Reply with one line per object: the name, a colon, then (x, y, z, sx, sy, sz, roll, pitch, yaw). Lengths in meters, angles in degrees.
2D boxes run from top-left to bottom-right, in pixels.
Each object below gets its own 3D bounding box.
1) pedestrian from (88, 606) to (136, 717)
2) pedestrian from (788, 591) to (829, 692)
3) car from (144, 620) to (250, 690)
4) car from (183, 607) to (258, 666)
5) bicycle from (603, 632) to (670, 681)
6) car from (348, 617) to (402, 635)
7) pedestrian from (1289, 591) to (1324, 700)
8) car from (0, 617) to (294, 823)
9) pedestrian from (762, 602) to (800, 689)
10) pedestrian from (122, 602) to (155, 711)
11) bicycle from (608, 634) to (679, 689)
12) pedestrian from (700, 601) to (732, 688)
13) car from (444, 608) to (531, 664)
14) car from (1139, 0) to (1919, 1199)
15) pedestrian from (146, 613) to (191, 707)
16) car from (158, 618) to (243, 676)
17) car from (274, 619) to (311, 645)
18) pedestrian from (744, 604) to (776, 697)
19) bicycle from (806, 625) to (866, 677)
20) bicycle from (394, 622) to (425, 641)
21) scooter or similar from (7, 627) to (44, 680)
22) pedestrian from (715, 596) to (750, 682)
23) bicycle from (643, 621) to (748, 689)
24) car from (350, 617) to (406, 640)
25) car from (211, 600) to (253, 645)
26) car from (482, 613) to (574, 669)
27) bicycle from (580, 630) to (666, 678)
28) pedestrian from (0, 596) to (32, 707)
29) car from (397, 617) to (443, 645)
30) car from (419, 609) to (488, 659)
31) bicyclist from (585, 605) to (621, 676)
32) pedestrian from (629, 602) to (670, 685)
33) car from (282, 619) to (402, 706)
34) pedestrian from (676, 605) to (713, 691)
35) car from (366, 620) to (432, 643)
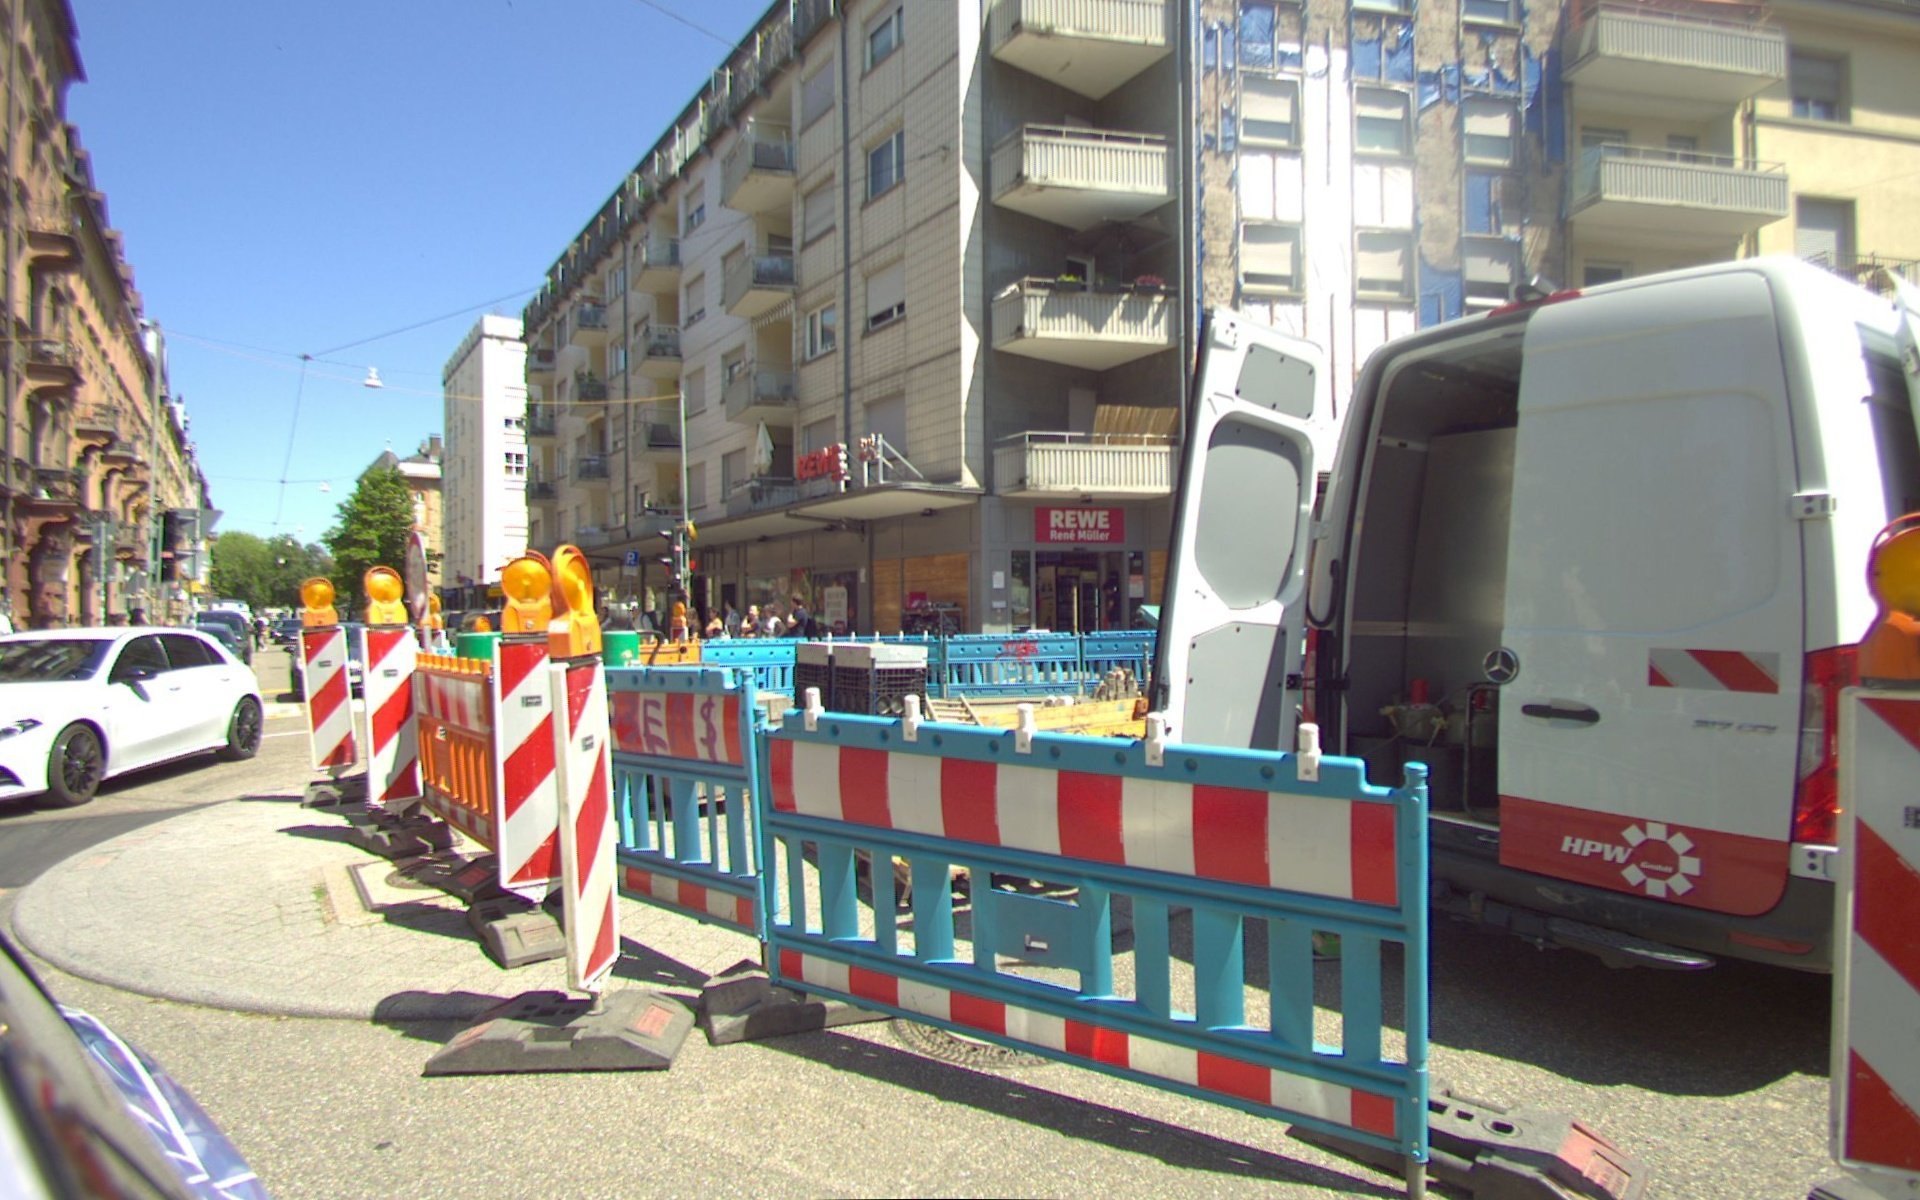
pedestrian: (-12.298, 0.881, 14.687, 0.453, 1.572, 0.480, 0, -1, -29)
pedestrian: (-2.795, 0.751, 18.662, 0.502, 1.834, 0.601, 0, -1, -38)
car: (-17.056, 1.177, 22.766, 1.605, 1.443, 3.670, 1, -2, -33)
car: (-23.901, 1.150, 32.686, 1.800, 1.780, 4.347, 2, -2, -37)
bicycle: (-7.568, 1.313, 23.696, 1.429, 1.043, 0.336, -3, 1, -40)
car: (-49.798, 2.214, 86.125, 3.824, 1.507, 1.656, 0, -1, -36)
pedestrian: (5.590, 0.729, 16.341, 0.385, 1.728, 0.589, 0, -1, 4)
car: (-7.890, 0.884, 9.035, 1.785, 1.436, 4.251, -1, -1, -11)
pedestrian: (-3.488, 0.868, 19.666, 0.502, 1.645, 0.601, 0, -1, -38)
pedestrian: (-12.996, 0.881, 16.011, 0.327, 1.688, 0.403, 0, -1, -29)
bicycle: (-7.279, 1.401, 23.306, 1.500, 1.125, 0.336, -3, 1, -40)
pedestrian: (-4.553, 0.813, 18.873, 0.489, 1.577, 0.460, -2, -1, -9)
car: (-16.886, 1.244, 36.046, 1.766, 1.825, 4.708, -1, 0, -38)
car: (4.060, 0.022, 4.512, 6.531, 2.772, 2.386, 1, -1, -33)
pedestrian: (-13.403, 1.014, 17.145, 0.486, 1.555, 0.438, 2, -2, -29)
car: (-20.550, 1.224, 27.415, 1.703, 1.443, 4.495, 2, -2, -37)
car: (-38.535, 1.816, 58.431, 1.720, 1.401, 4.011, 0, -1, -33)
pedestrian: (-3.570, 0.892, 18.017, 0.384, 1.630, 0.476, 0, -1, -38)
bicycle: (-2.703, 1.105, 21.999, 1.430, 1.094, 0.318, -3, -1, 36)
bicycle: (-33.632, 1.901, 61.822, 1.583, 1.099, 0.372, -2, 0, -30)
scooter or similar: (-21.884, 1.244, 23.717, 0.288, 1.186, 1.276, 0, -1, -26)
pedestrian: (-4.857, 0.822, 21.590, 0.502, 1.784, 0.601, 0, -1, -38)
bicycle: (-4.801, 0.989, 18.411, 1.780, 1.127, 0.469, -2, -1, -14)
car: (-46.792, 2.264, 81.393, 3.824, 1.760, 1.656, 0, -1, -36)
car: (-46.449, 1.430, 64.626, 2.035, 2.723, 5.051, -2, 0, -35)
car: (-13.063, 1.194, 30.464, 1.647, 1.536, 4.475, -1, 0, -35)
bicycle: (-8.335, 1.309, 25.044, 1.907, 1.100, 0.606, -1, -1, -34)
pedestrian: (-15.454, 0.814, 16.257, 0.471, 1.745, 0.874, 0, 0, -16)
car: (-29.461, 1.680, 55.210, 1.785, 1.436, 3.901, 0, -1, -35)
car: (-20.583, 1.357, 41.033, 1.765, 1.843, 4.912, -1, 0, -35)
bicyclist: (-9.000, 1.008, 25.507, 0.614, 1.719, 0.981, -1, 1, -33)
pedestrian: (-6.642, 0.912, 21.649, 0.647, 1.740, 0.634, 0, -1, -38)
car: (-12.432, 1.165, 20.263, 1.752, 1.480, 4.010, -2, 0, -35)
pedestrian: (-5.160, 0.924, 19.678, 0.534, 1.645, 0.512, 0, -1, -38)
car: (-39.099, 2.188, 70.560, 3.824, 1.540, 1.656, 0, -1, -36)
